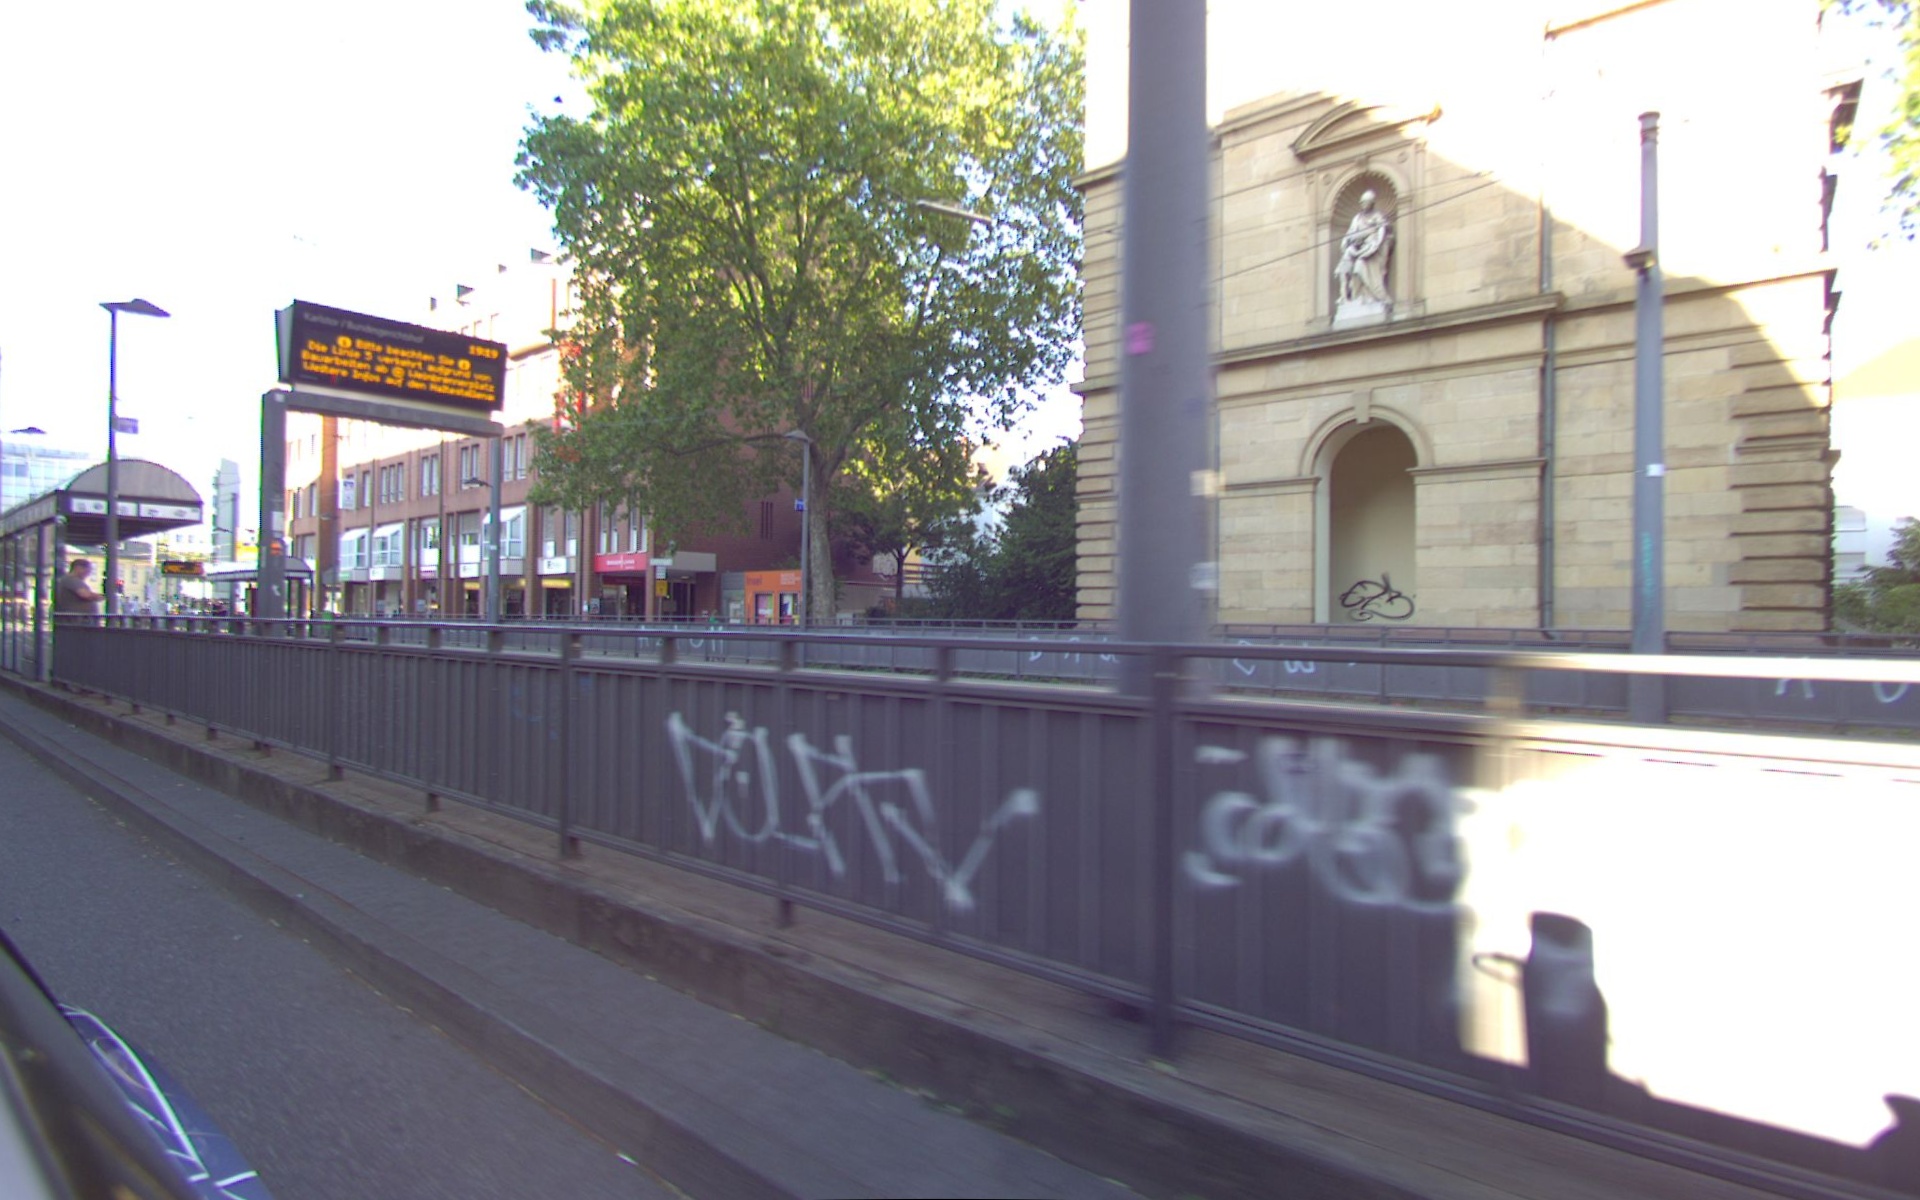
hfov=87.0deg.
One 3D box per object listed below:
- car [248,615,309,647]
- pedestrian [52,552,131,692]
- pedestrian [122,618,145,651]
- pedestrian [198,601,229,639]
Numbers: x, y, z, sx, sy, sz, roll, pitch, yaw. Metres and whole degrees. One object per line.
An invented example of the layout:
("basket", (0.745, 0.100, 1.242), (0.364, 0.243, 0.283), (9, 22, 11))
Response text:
("car", (-39.362, 1.780, 58.425), (4.289, 1.606, 1.889), (1, -1, 42))
("pedestrian", (-11.108, 0.280, 12.939), (0.849, 1.725, 0.616), (-1, -2, 40))
("pedestrian", (-46.341, 1.923, 56.732), (0.811, 1.780, 0.849), (0, 1, 42))
("pedestrian", (-32.862, 0.878, 44.541), (0.967, 1.674, 0.902), (0, -1, 40))
